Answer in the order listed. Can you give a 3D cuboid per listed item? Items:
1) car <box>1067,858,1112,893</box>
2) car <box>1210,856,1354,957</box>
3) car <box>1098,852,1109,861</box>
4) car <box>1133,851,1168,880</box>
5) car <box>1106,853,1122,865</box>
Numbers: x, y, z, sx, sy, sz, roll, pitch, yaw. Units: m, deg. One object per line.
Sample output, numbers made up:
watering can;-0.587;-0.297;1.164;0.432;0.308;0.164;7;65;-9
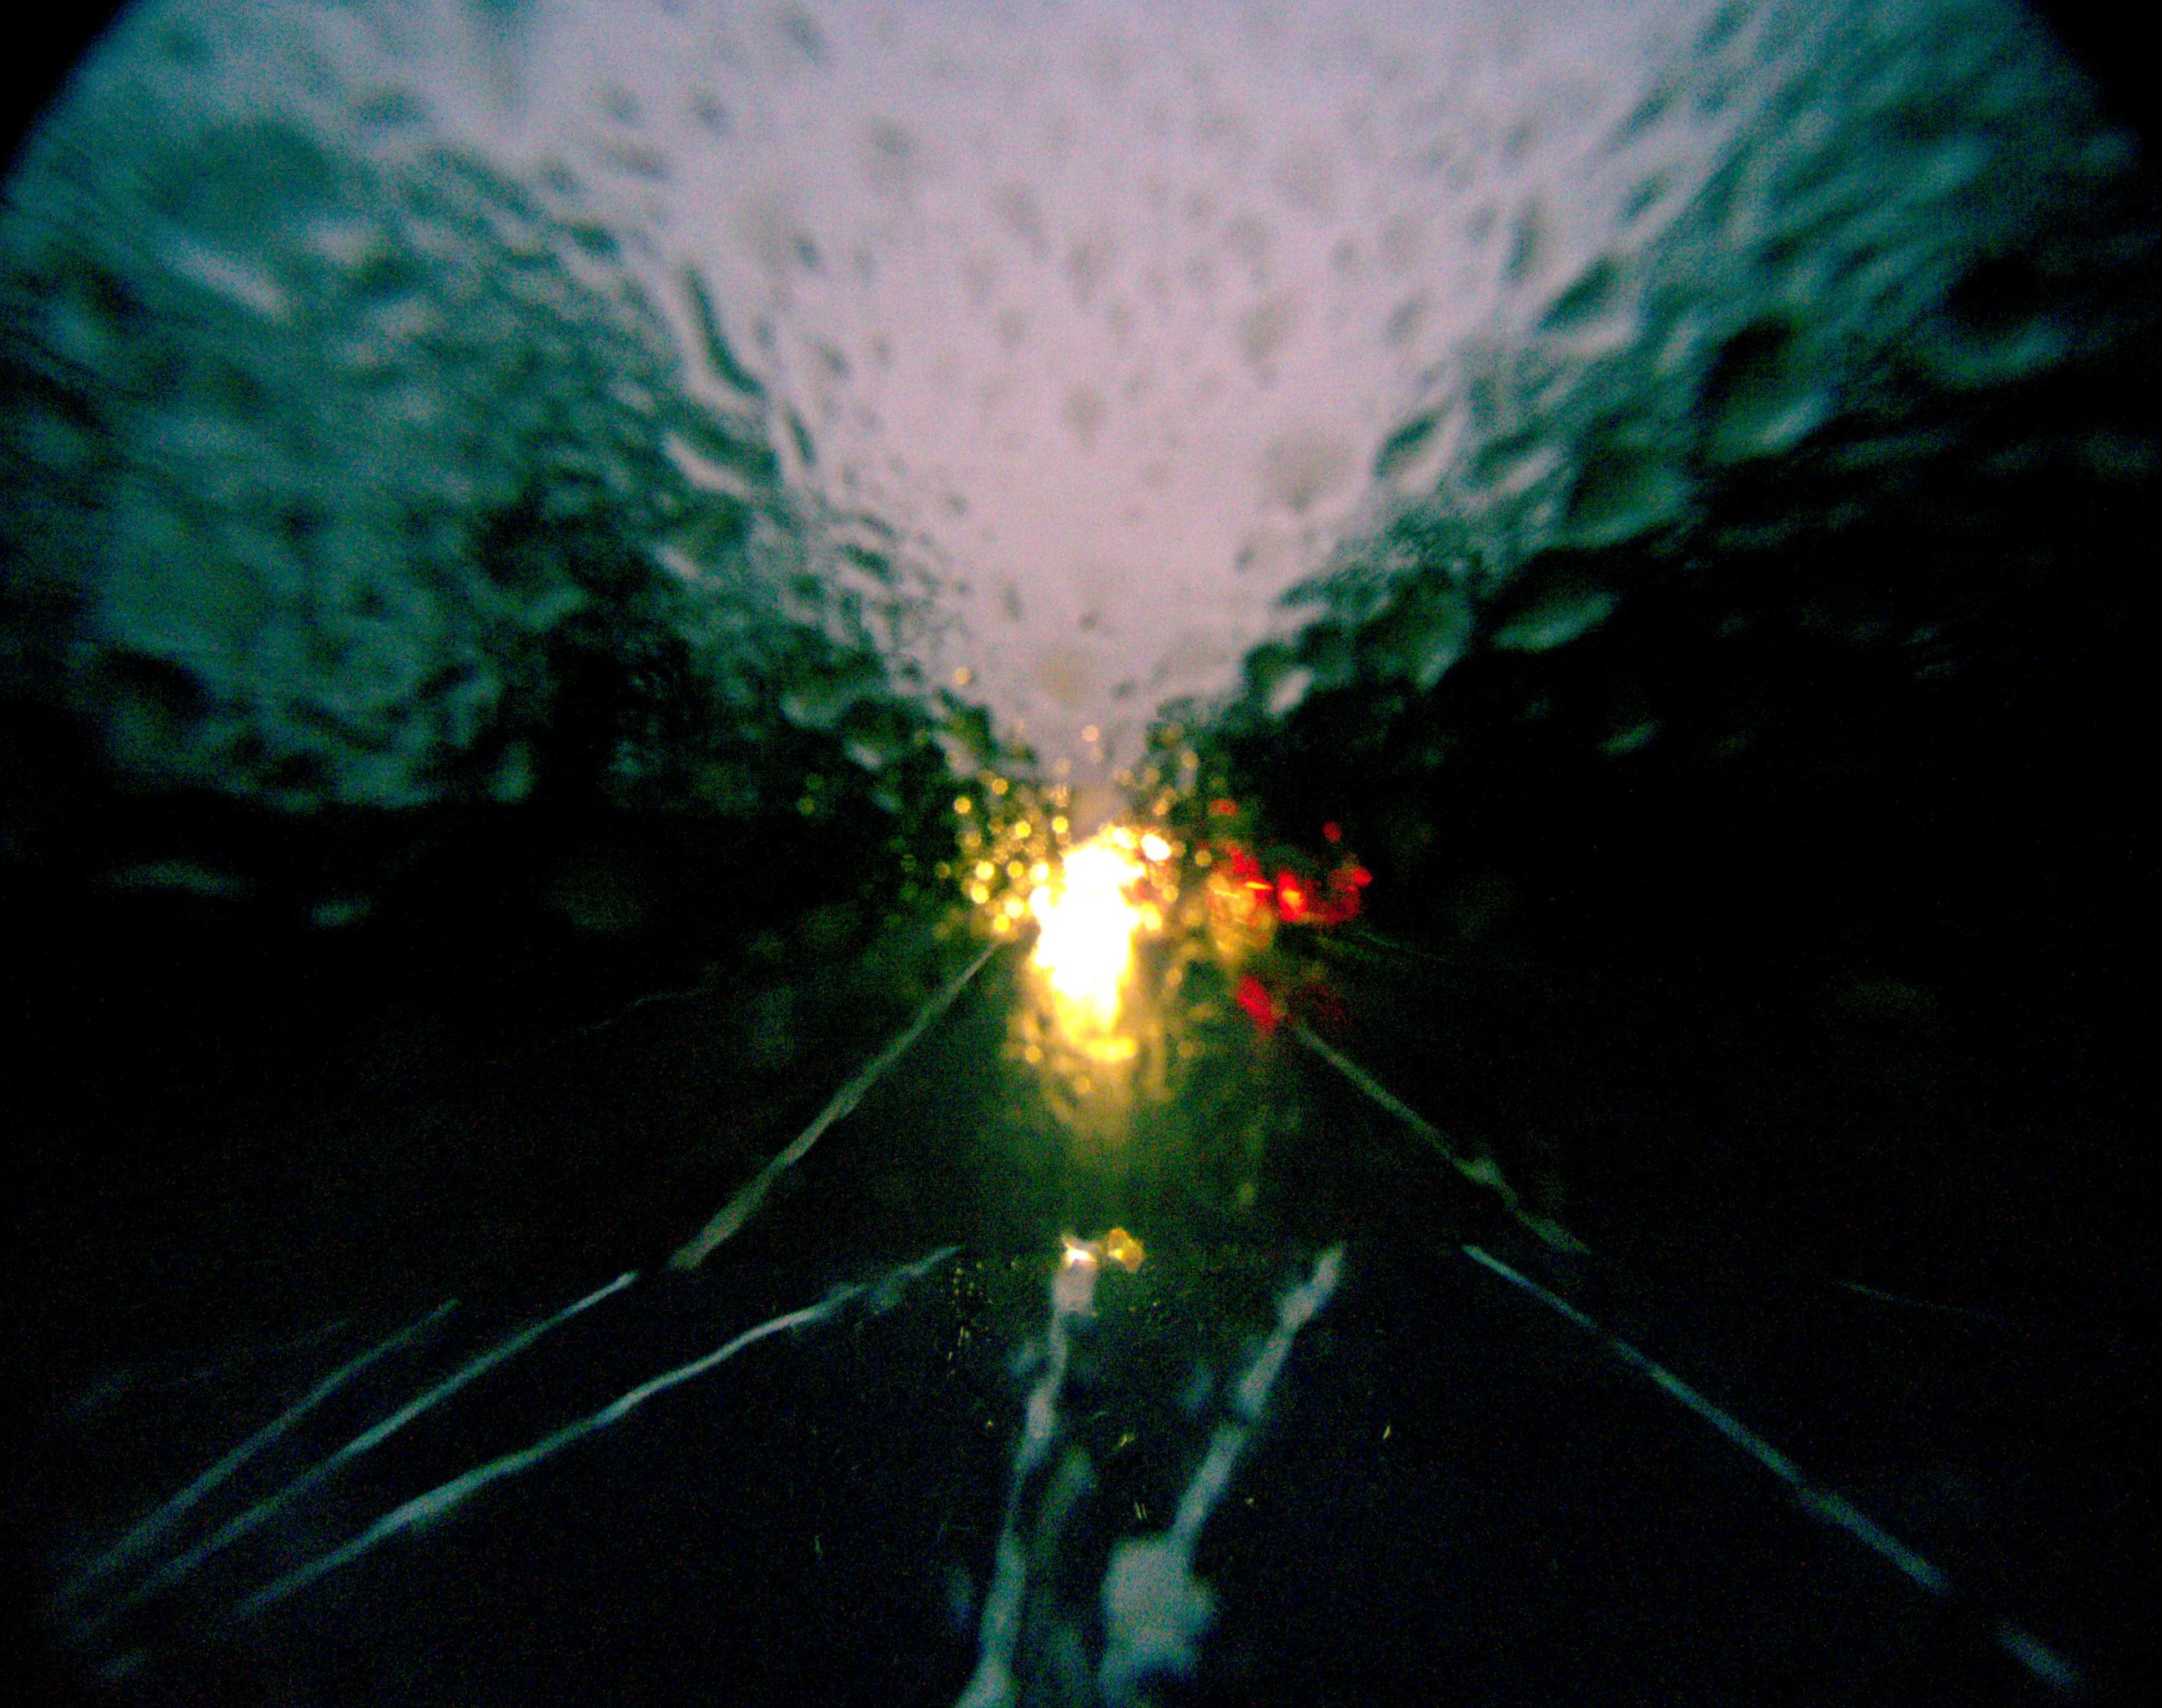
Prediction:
car;0.404;0.885;33.320;1.845;1.390;4.000;-1;0;1
car;3.542;0.837;14.103;1.585;1.541;3.999;1;1;0
car;4.087;0.427;138.054;1.803;1.453;4.176;0;0;1
car;4.065;0.658;45.188;1.745;1.625;4.000;-1;1;1
car;4.004;0.561;93.132;1.769;1.449;4.507;0;1;0
